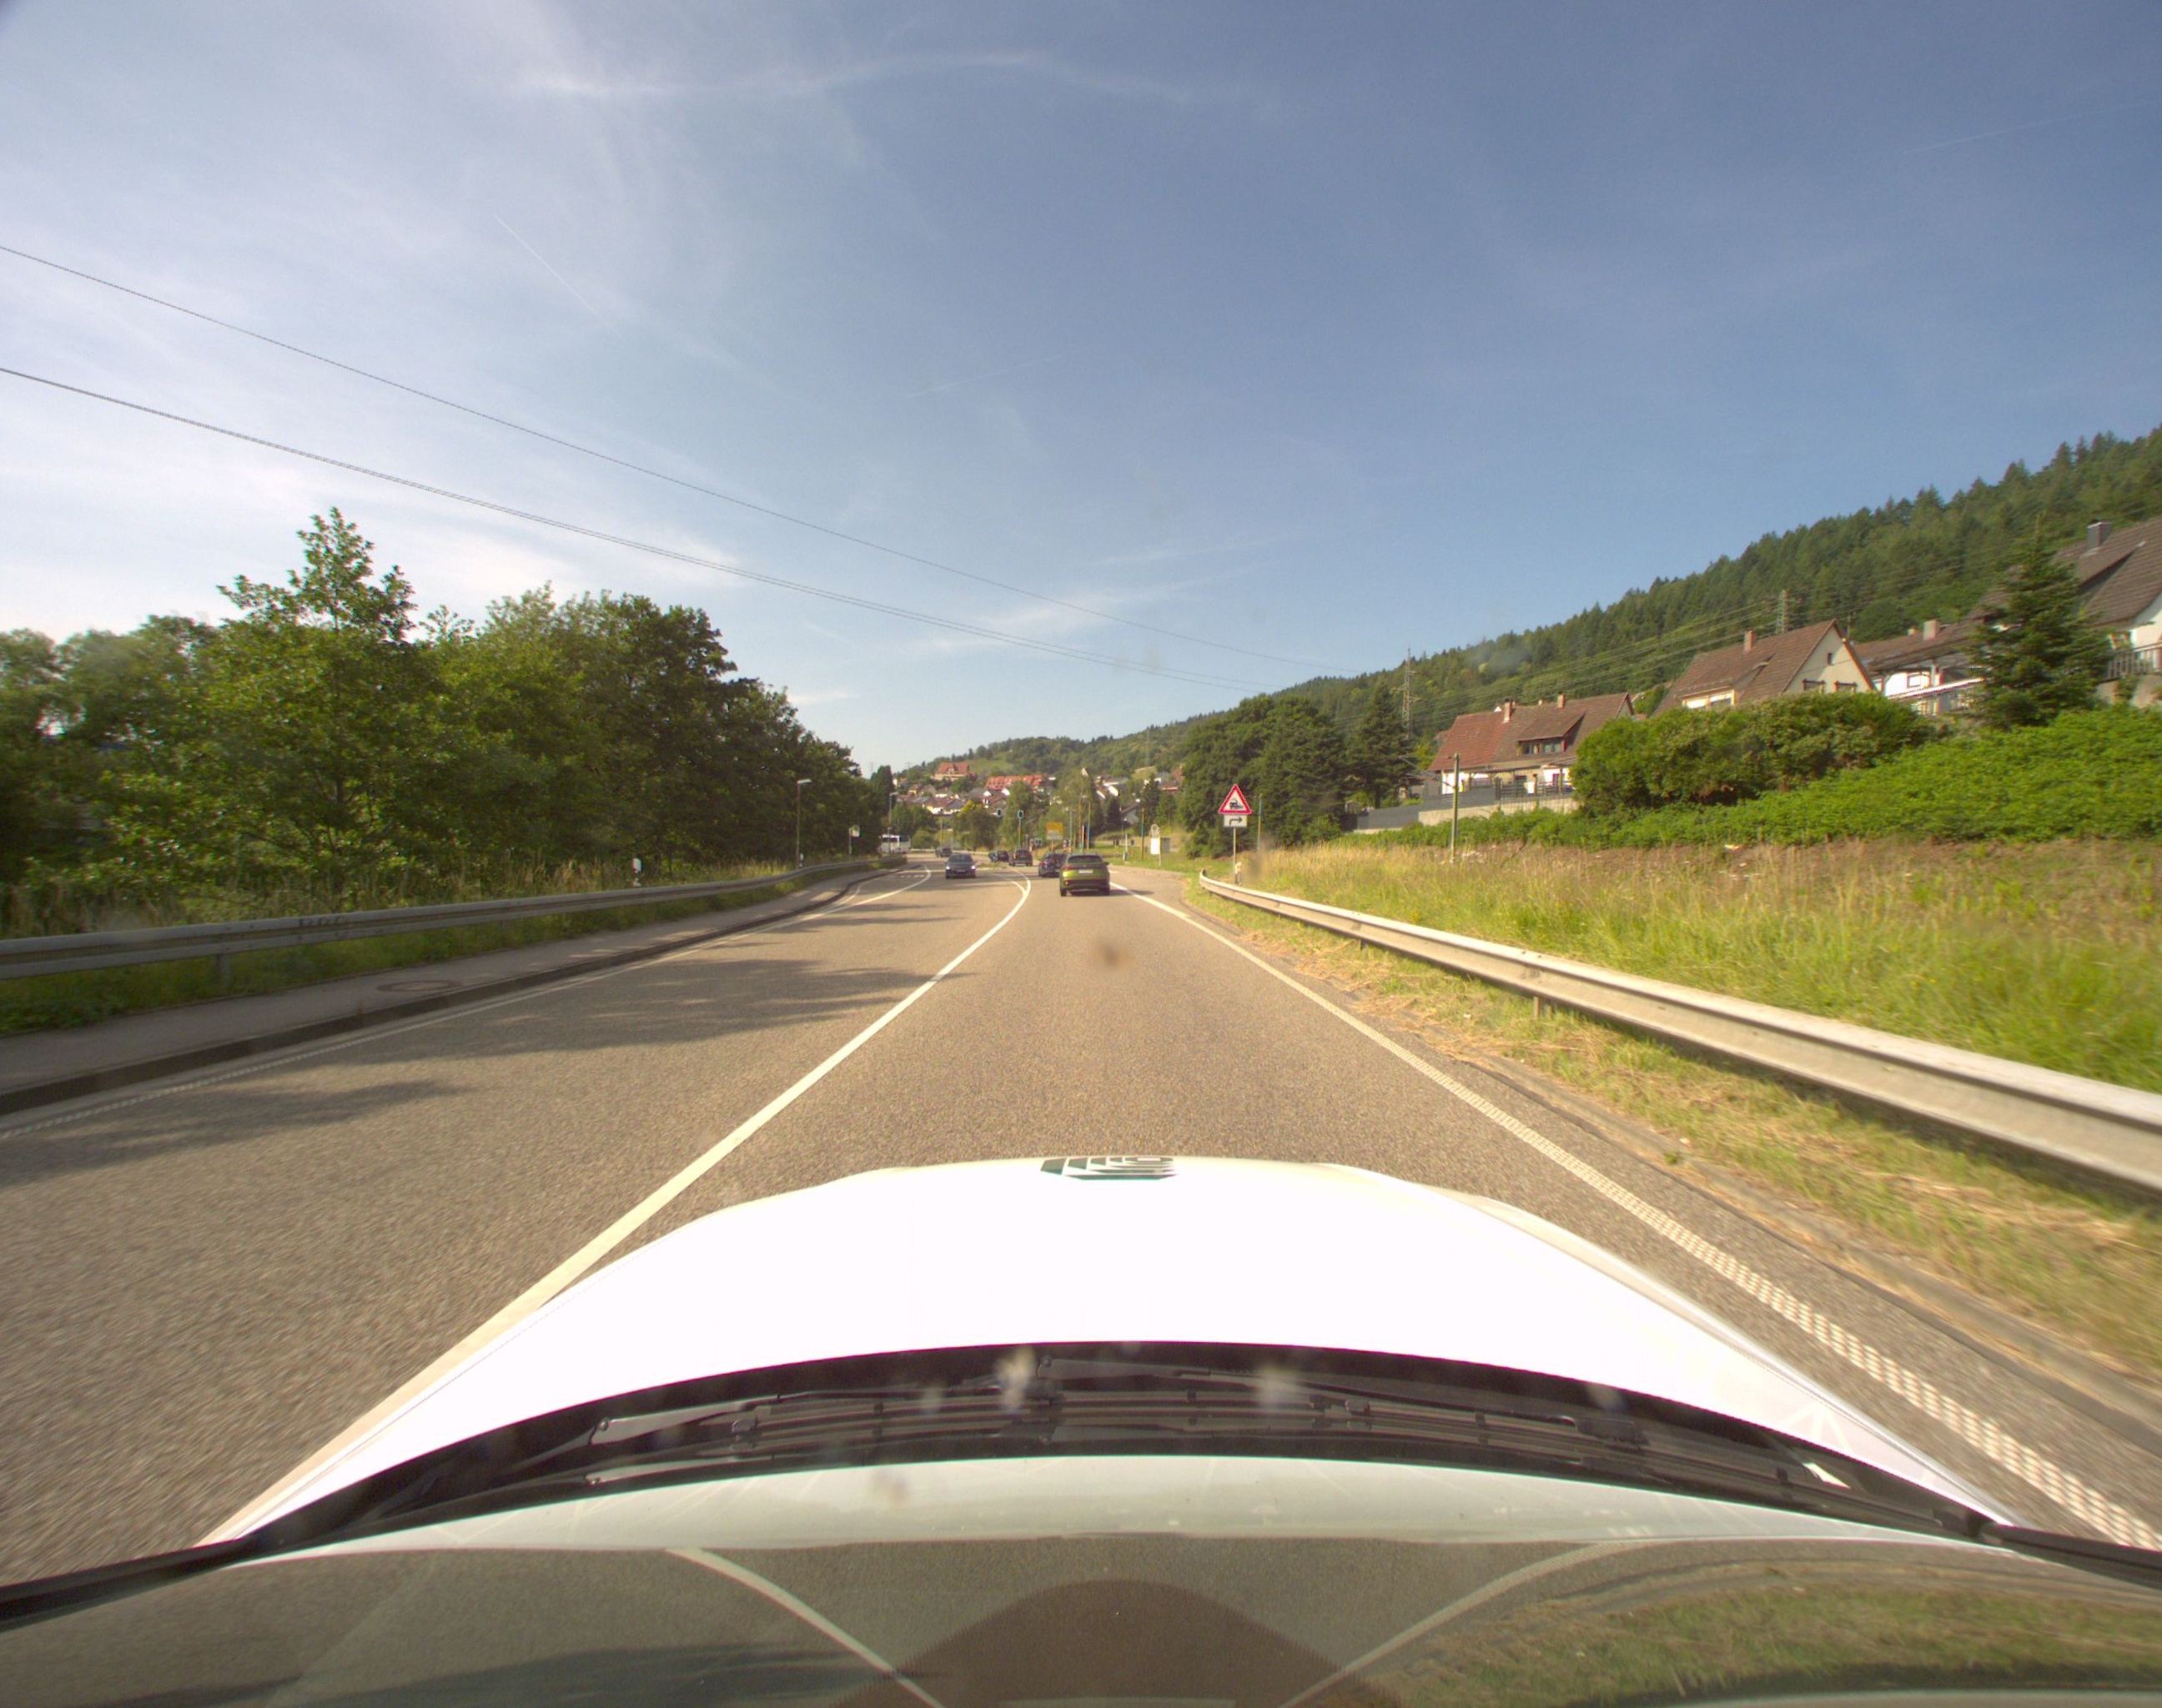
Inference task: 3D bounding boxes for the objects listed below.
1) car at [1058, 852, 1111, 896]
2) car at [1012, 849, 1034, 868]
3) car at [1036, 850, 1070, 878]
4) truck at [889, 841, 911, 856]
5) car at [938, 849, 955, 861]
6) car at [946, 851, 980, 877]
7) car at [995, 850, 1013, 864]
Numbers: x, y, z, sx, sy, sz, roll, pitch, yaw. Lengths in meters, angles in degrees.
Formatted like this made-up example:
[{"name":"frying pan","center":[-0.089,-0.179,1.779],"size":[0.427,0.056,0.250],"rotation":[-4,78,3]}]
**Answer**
[{"name":"car","center":[0.053,0.671,29.287],"size":[1.710,1.455,3.996],"rotation":[-1,0,-3]},{"name":"car","center":[-5.446,0.387,75.946],"size":[1.877,1.686,3.992],"rotation":[0,0,-6]},{"name":"car","center":[-1.646,0.543,46.625],"size":[1.665,1.559,3.992],"rotation":[0,0,-6]},{"name":"truck","center":[-35.868,-1.061,161.352],"size":[2.728,3.084,6.050],"rotation":[0,0,-30]},{"name":"car","center":[-22.050,0.147,133.290],"size":[2.071,1.811,3.972],"rotation":[-1,0,-21]},{"name":"car","center":[-7.110,0.591,49.313],"size":[1.889,1.488,3.991],"rotation":[-2,0,-6]},{"name":"car","center":[-8.967,0.386,94.430],"size":[1.848,1.527,3.652],"rotation":[-2,0,-8]}]
